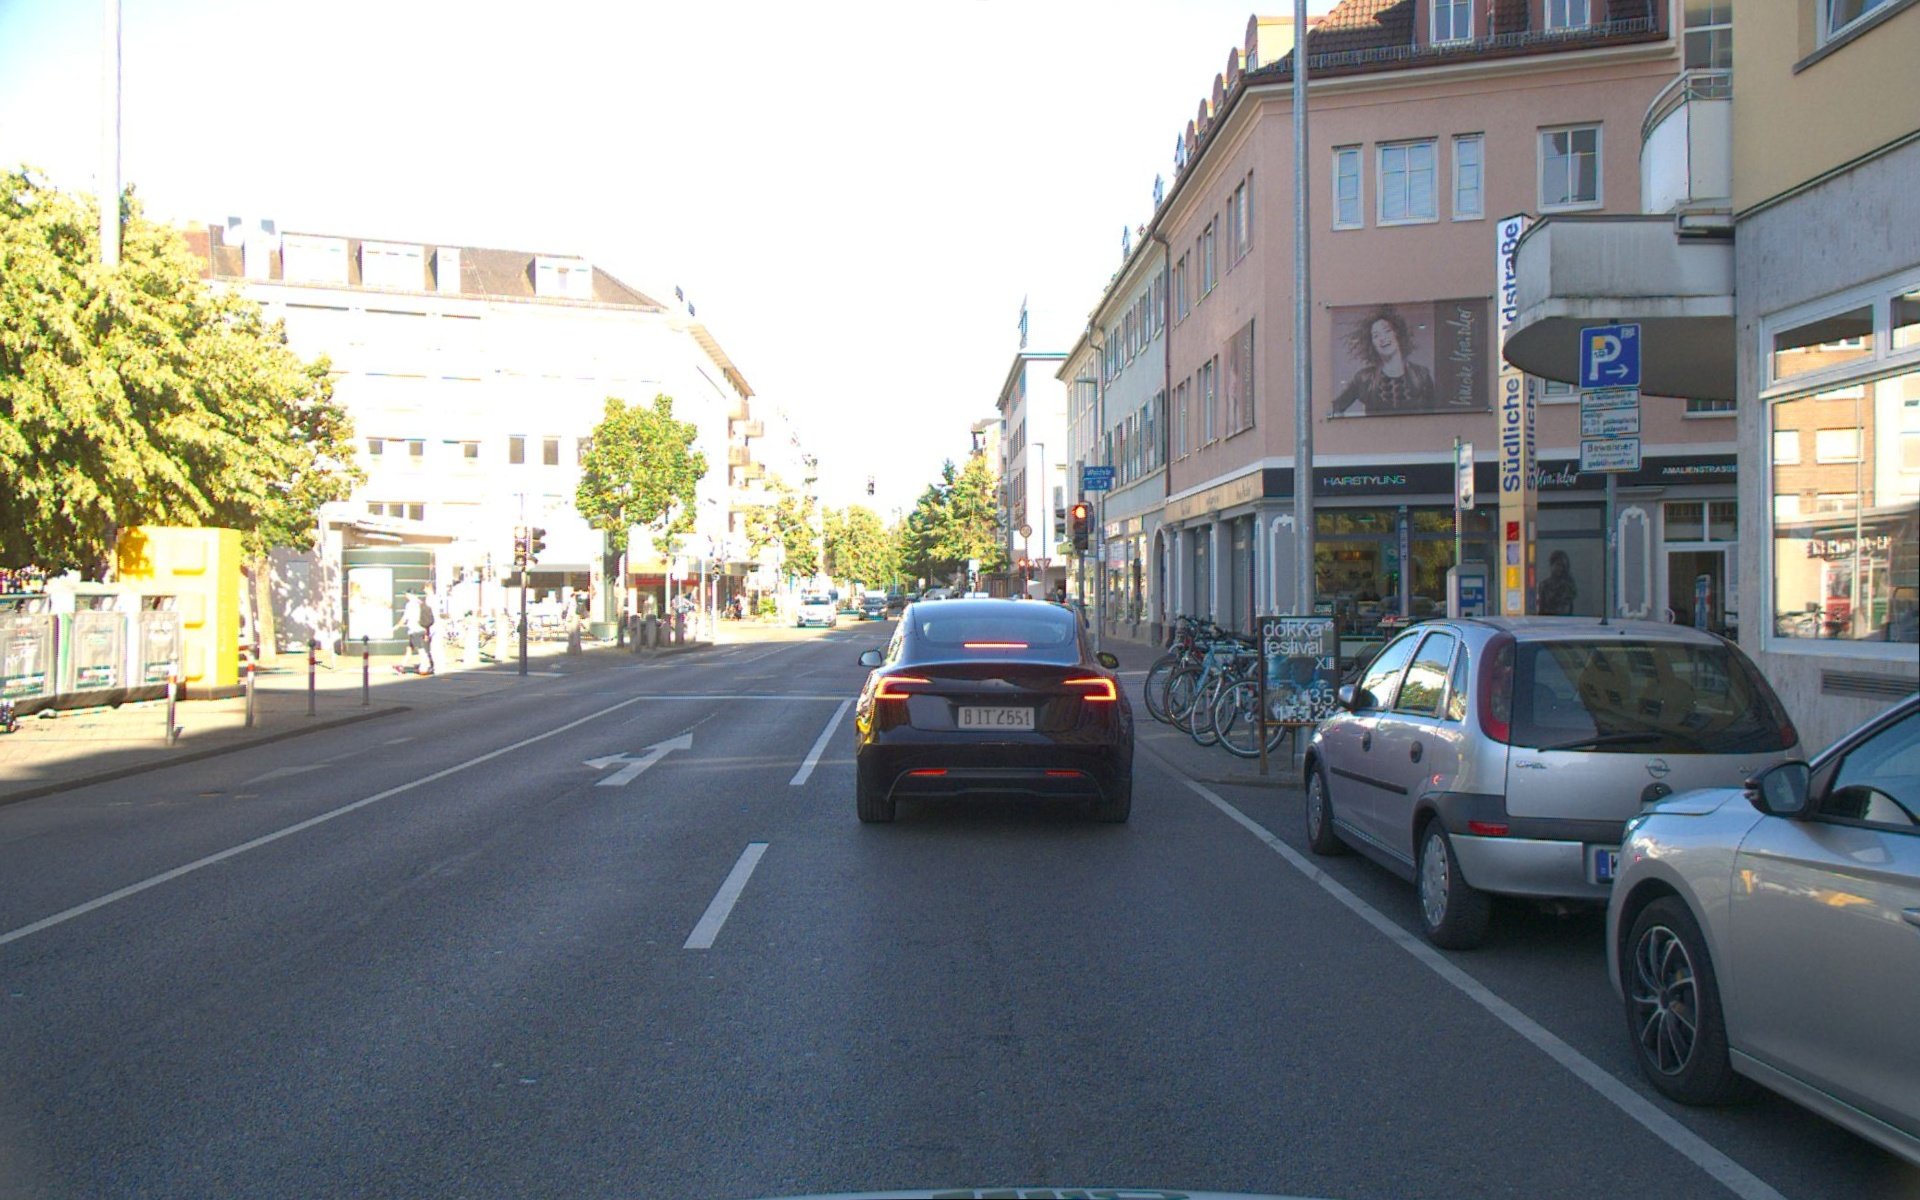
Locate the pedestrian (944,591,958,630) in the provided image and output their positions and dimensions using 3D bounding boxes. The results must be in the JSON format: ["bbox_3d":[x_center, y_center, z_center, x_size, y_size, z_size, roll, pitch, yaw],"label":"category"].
[{"bbox_3d":[-0.489,0.551,88.542,0.613,2.049,0.559,0,0,19],"label":"pedestrian"}]

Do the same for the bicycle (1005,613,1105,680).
[{"bbox_3d":[1.559,0.750,27.074,1.581,1.063,0.591,1,0,9],"label":"bicycle"}]

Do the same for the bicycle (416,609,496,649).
[{"bbox_3d":[-14.427,0.826,47.377,2.040,1.123,0.806,0,0,-1],"label":"bicycle"}]

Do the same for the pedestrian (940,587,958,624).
[{"bbox_3d":[-0.621,0.293,91.837,0.742,2.049,0.791,0,0,-27],"label":"pedestrian"}]

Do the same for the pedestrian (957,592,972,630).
[{"bbox_3d":[0.228,0.585,88.243,0.614,2.049,0.558,0,0,28],"label":"pedestrian"}]

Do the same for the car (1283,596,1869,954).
[{"bbox_3d":[2.835,0.692,8.535,1.588,1.419,3.886,0,0,0],"label":"car"}]

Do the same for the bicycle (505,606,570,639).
[{"bbox_3d":[-14.524,0.776,56.864,2.040,1.123,0.806,0,0,-1],"label":"bicycle"}]

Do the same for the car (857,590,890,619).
[{"bbox_3d":[-5.444,0.264,103.676,2.010,1.757,4.650,0,0,-4],"label":"car"}]

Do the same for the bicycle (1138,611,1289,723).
[{"bbox_3d":[2.841,0.747,18.584,1.595,1.180,0.432,-2,0,-2],"label":"bicycle"}]

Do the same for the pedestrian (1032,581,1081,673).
[{"bbox_3d":[1.576,0.438,27.066,0.727,1.466,0.583,1,0,10],"label":"pedestrian"}]

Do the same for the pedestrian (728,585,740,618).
[{"bbox_3d":[-13.835,0.081,101.252,0.613,2.049,0.575,0,0,-1],"label":"pedestrian"}]

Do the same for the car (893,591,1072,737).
[{"bbox_3d":[0.231,0.641,18.691,1.812,1.480,3.786,0,0,0],"label":"car"}]

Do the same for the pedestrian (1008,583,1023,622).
[{"bbox_3d":[2.971,0.120,88.406,0.614,2.049,0.559,0,0,24],"label":"pedestrian"}]

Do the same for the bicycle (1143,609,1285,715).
[{"bbox_3d":[3.015,0.731,19.680,1.594,1.180,0.433,-2,0,0],"label":"bicycle"}]

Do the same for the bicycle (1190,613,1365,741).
[{"bbox_3d":[3.090,0.742,16.170,1.595,1.180,0.432,-2,0,-2],"label":"bicycle"}]

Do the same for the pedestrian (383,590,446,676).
[{"bbox_3d":[-10.763,0.642,32.658,0.966,1.665,0.737,0,0,3],"label":"pedestrian"}]

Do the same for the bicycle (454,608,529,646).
[{"bbox_3d":[-14.128,0.811,49.901,2.040,1.123,0.806,0,0,-1],"label":"bicycle"}]

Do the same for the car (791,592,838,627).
[{"bbox_3d":[-7.220,0.461,82.180,1.953,1.567,3.999,-3,0,-1],"label":"car"}]

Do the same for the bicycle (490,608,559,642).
[{"bbox_3d":[-14.386,0.820,54.672,2.040,1.123,0.806,0,0,-1],"label":"bicycle"}]

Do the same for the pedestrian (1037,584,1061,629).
[{"bbox_3d":[3.751,0.274,69.838,0.979,1.883,0.615,0,0,-1],"label":"pedestrian"}]

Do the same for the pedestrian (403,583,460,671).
[{"bbox_3d":[-10.715,0.541,33.576,0.882,1.755,0.744,0,0,3],"label":"pedestrian"}]

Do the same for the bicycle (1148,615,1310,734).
[{"bbox_3d":[2.813,0.772,17.339,1.595,1.180,0.432,-2,0,-2],"label":"bicycle"}]

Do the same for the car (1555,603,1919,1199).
[{"bbox_3d":[3.063,0.747,3.875,1.637,1.452,4.074,0,0,-4],"label":"car"}]

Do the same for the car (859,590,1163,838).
[{"bbox_3d":[0.311,0.675,11.792,1.812,1.480,3.786,0,0,0],"label":"car"}]
